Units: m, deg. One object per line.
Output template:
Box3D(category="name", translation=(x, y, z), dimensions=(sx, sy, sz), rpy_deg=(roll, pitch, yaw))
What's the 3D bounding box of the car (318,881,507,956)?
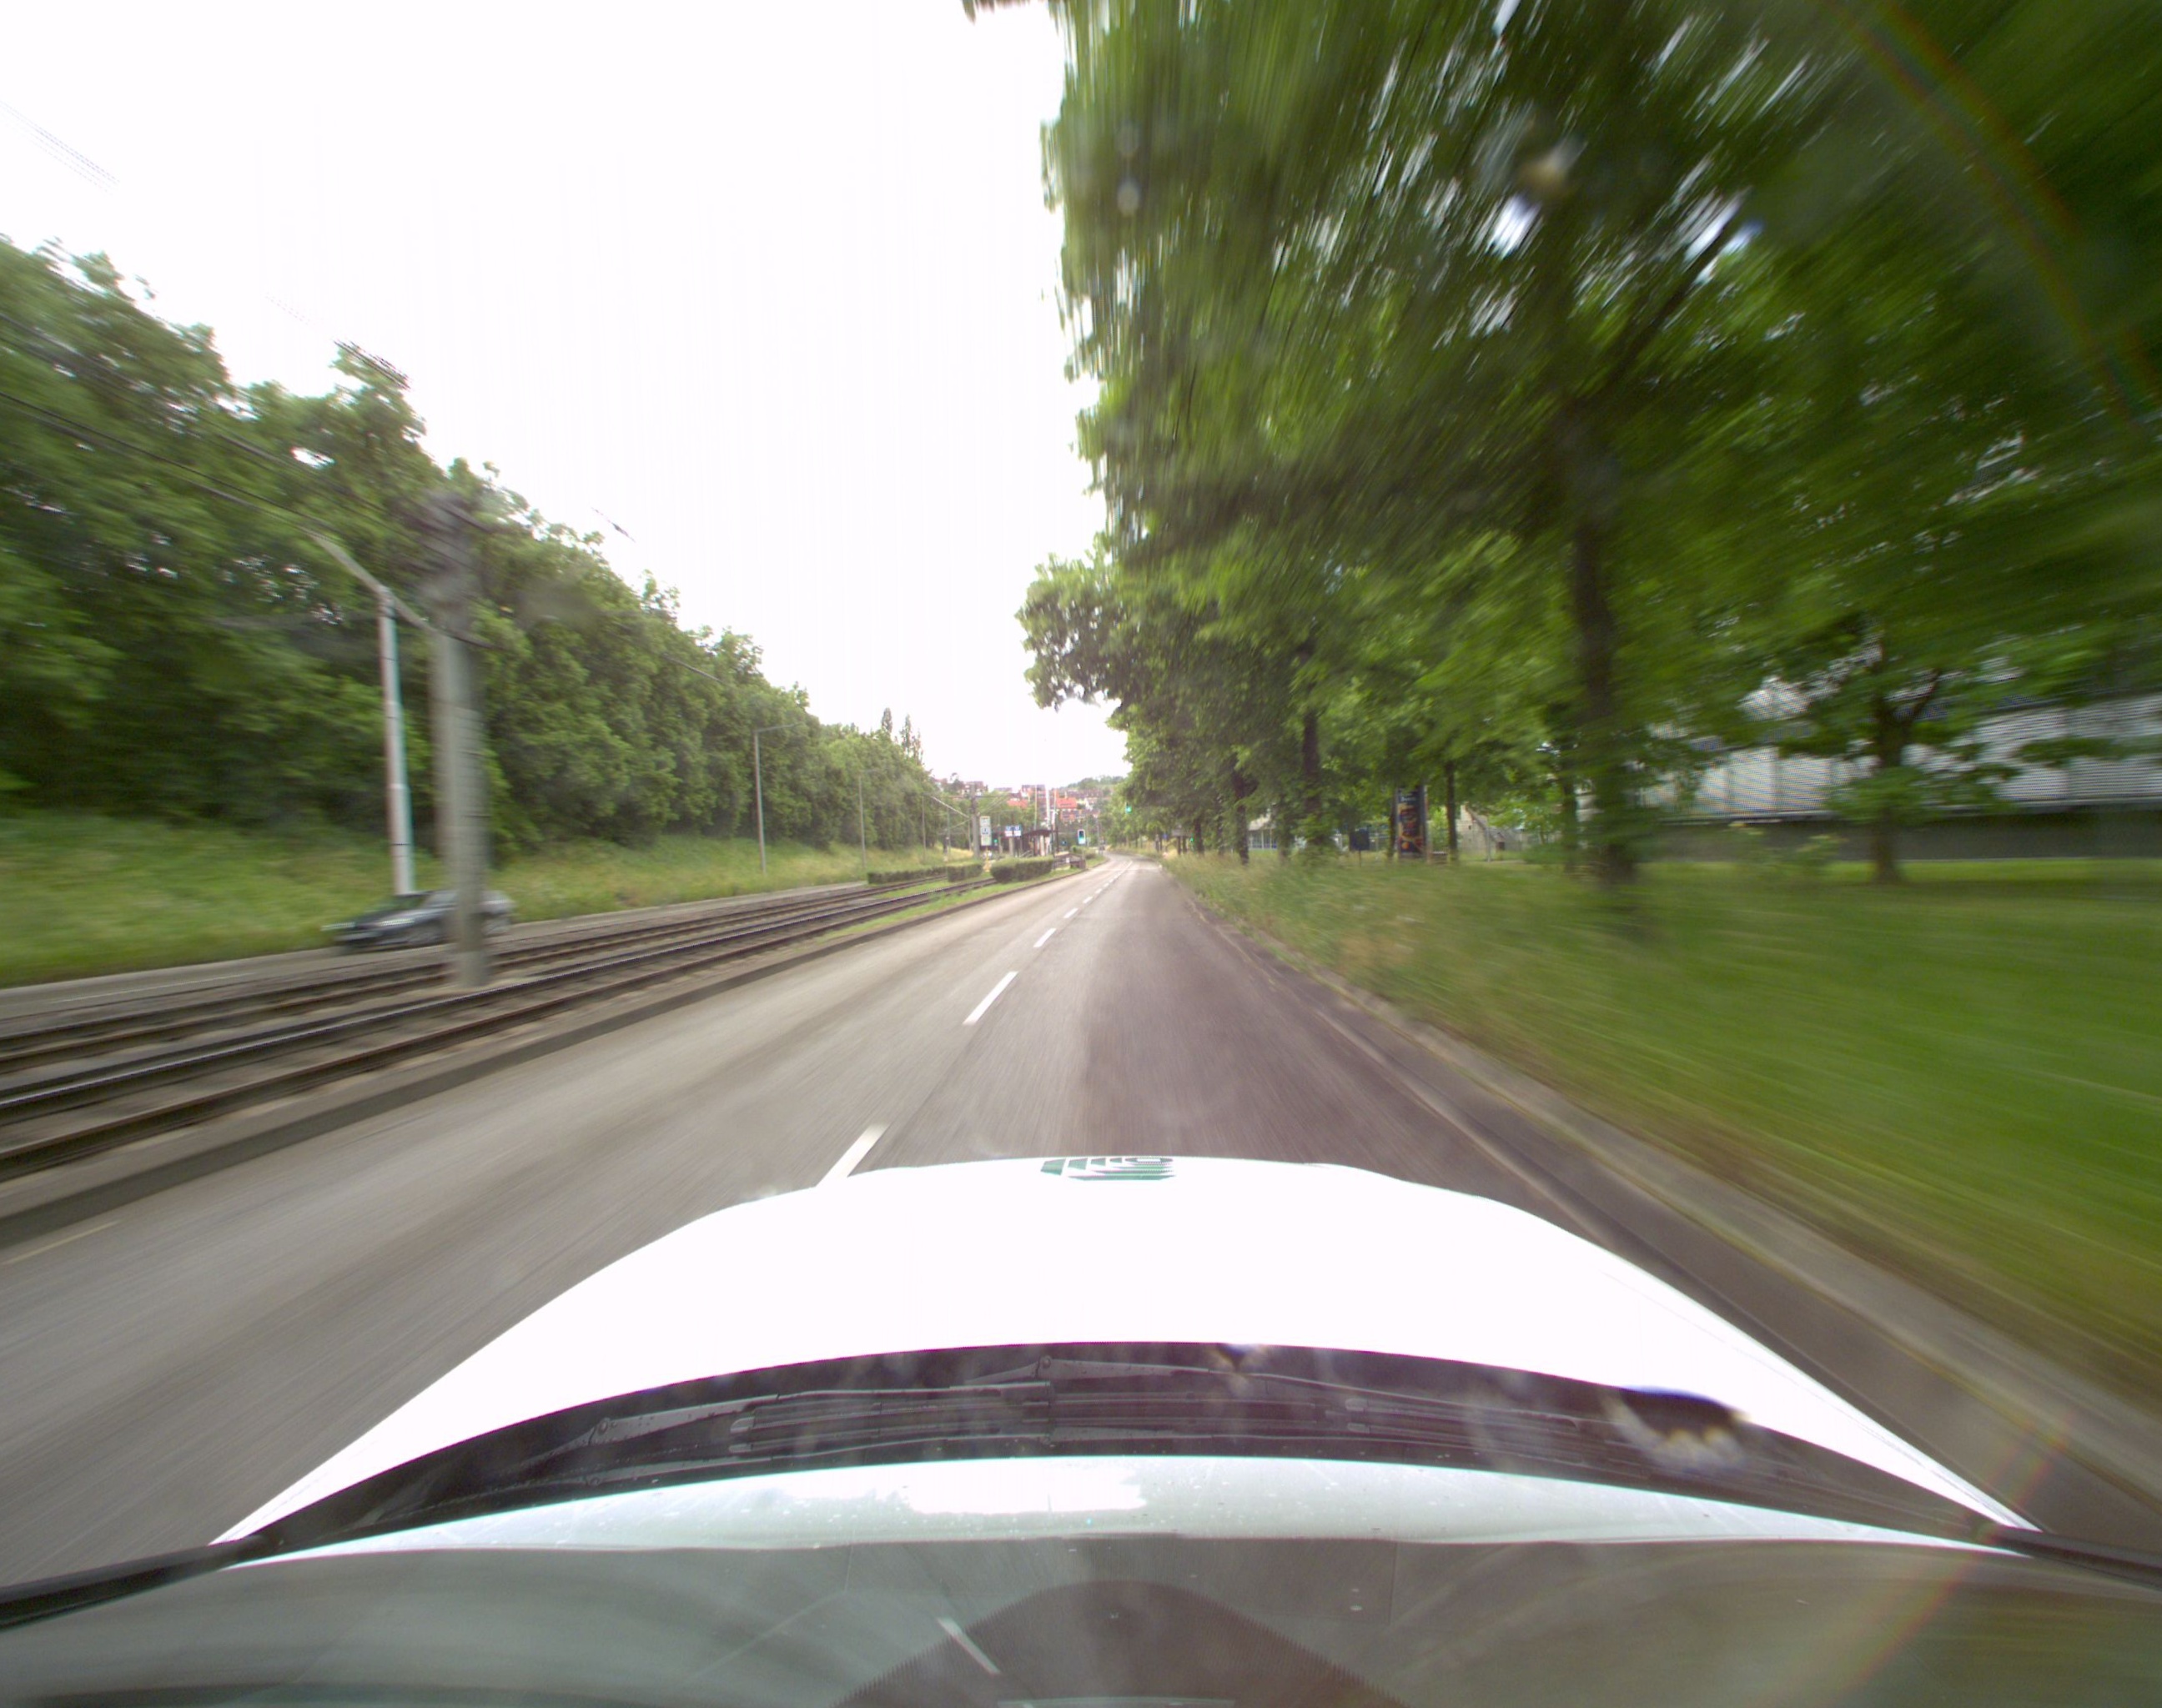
Box3D(category="car", translation=(-17.506, 1.623, 21.628), dimensions=(1.781, 1.552, 3.957), rpy_deg=(-4, 0, -3))
